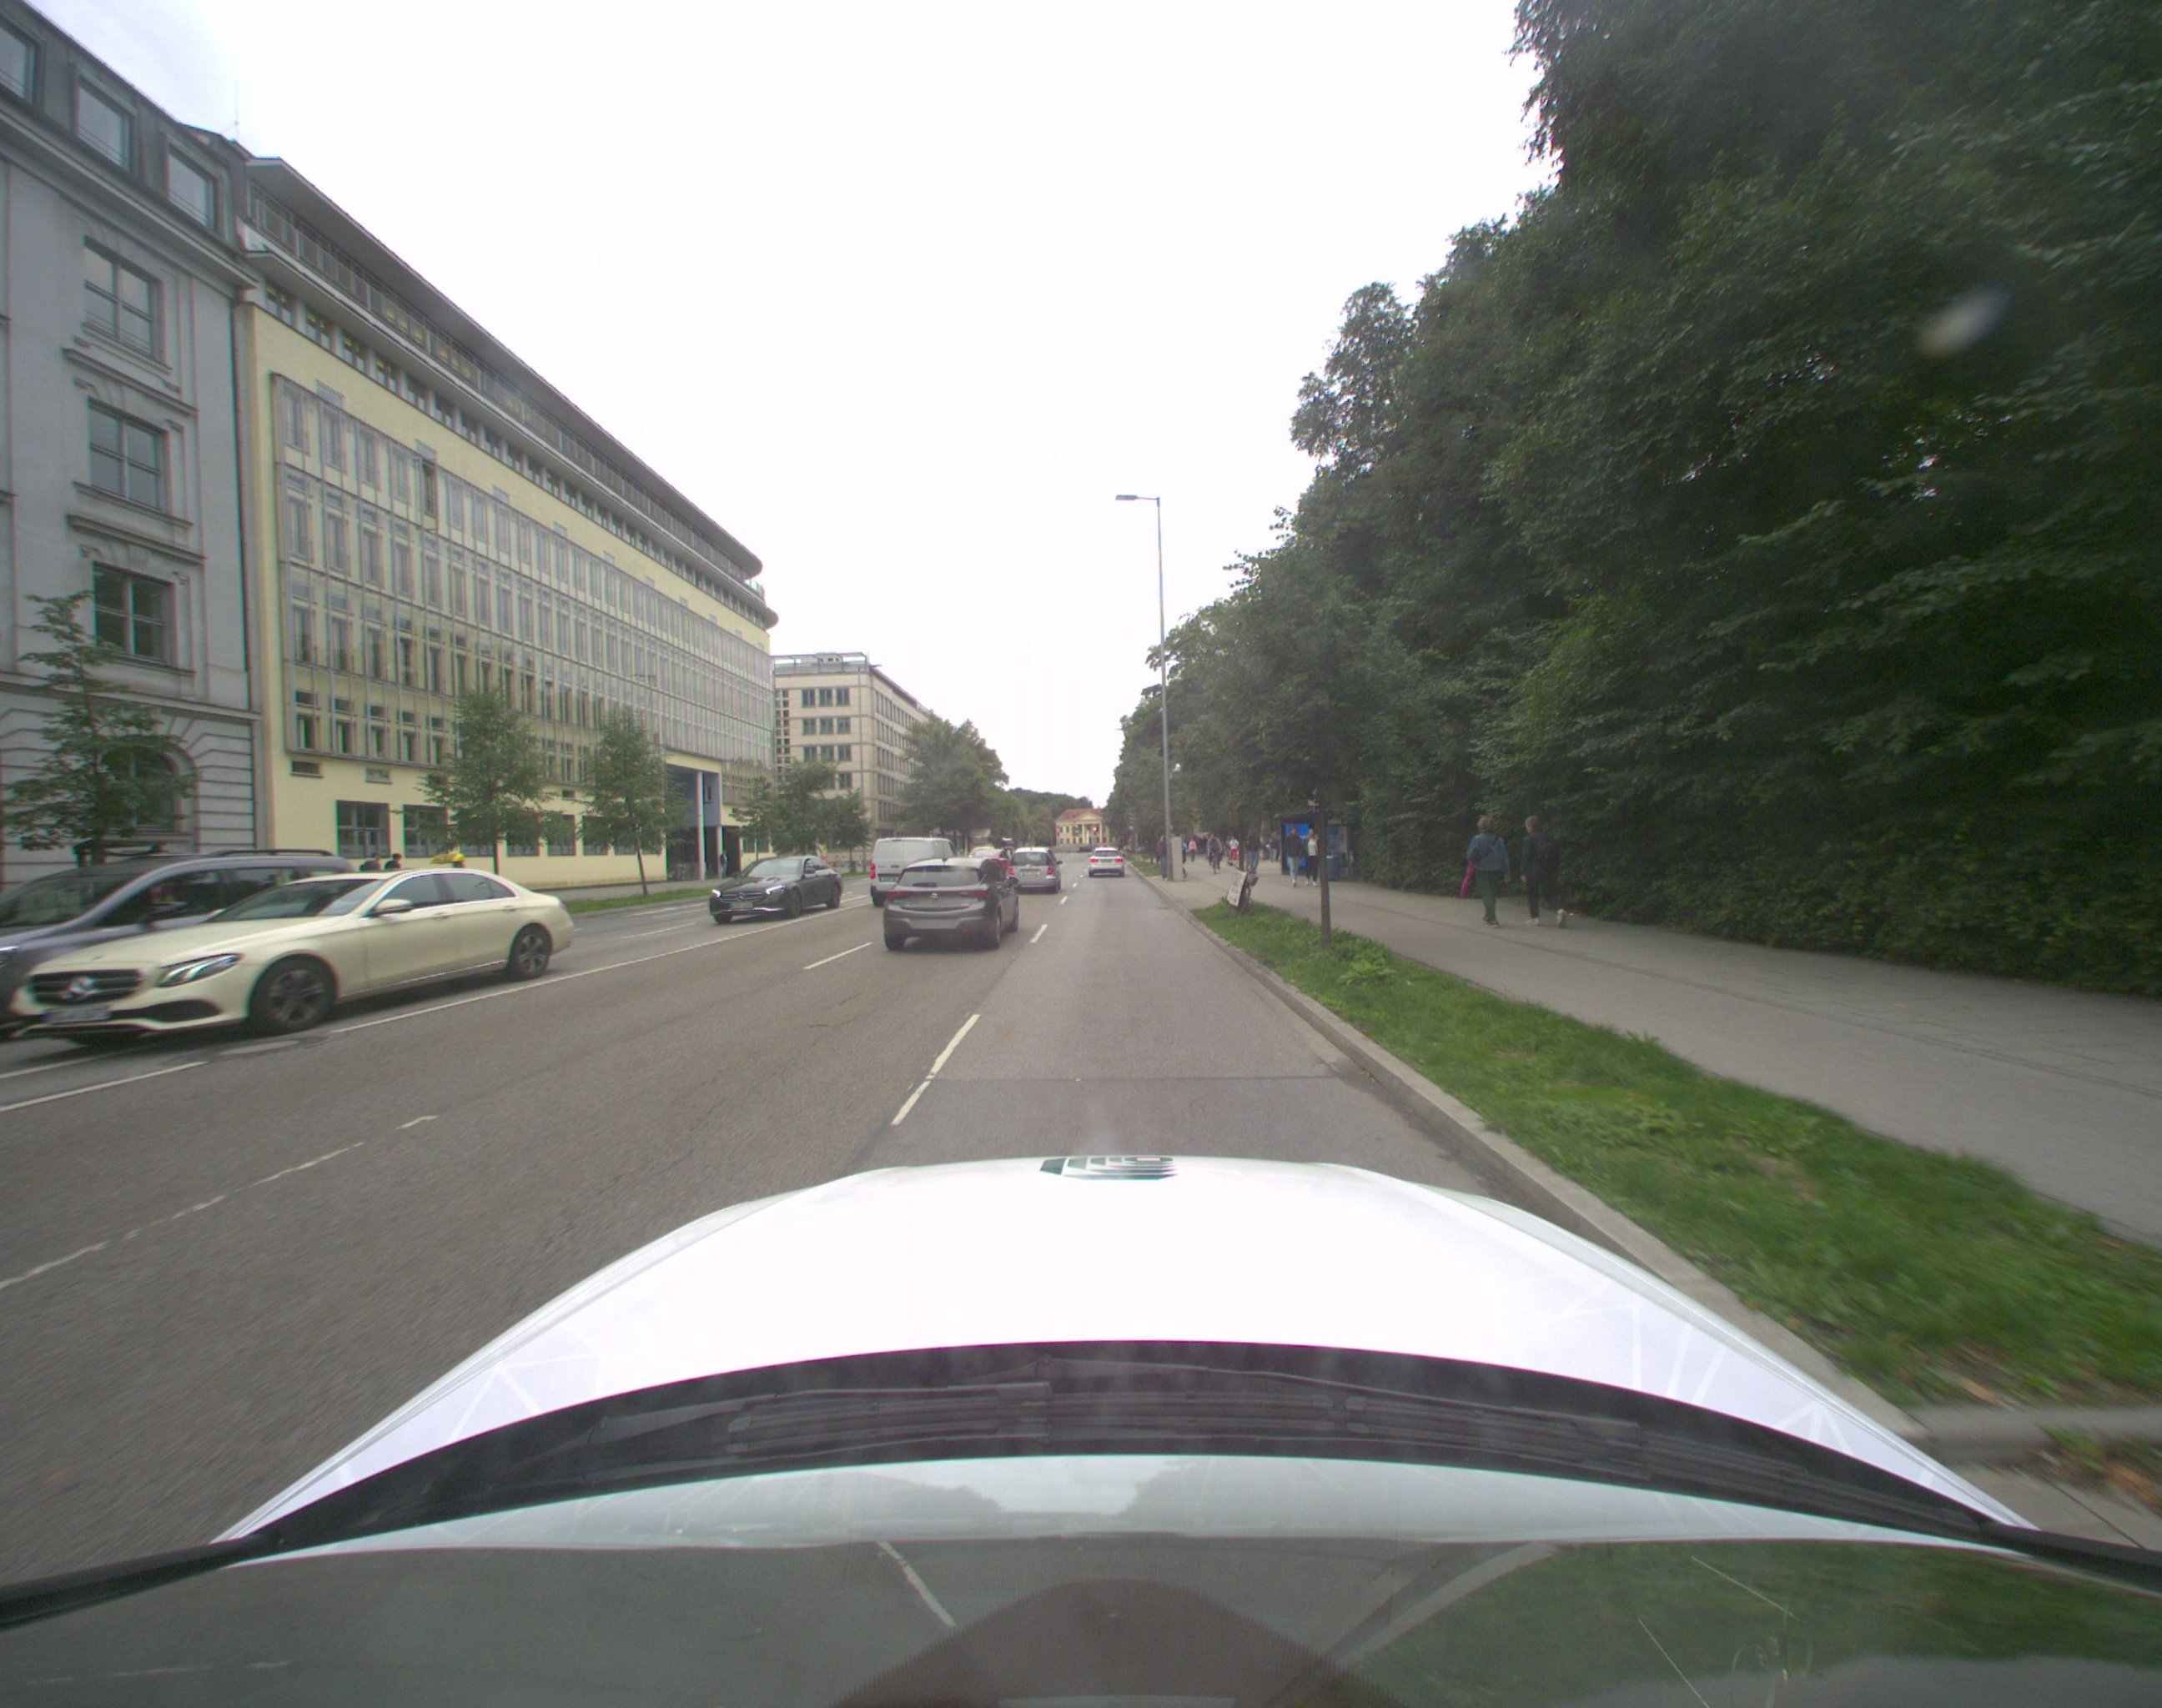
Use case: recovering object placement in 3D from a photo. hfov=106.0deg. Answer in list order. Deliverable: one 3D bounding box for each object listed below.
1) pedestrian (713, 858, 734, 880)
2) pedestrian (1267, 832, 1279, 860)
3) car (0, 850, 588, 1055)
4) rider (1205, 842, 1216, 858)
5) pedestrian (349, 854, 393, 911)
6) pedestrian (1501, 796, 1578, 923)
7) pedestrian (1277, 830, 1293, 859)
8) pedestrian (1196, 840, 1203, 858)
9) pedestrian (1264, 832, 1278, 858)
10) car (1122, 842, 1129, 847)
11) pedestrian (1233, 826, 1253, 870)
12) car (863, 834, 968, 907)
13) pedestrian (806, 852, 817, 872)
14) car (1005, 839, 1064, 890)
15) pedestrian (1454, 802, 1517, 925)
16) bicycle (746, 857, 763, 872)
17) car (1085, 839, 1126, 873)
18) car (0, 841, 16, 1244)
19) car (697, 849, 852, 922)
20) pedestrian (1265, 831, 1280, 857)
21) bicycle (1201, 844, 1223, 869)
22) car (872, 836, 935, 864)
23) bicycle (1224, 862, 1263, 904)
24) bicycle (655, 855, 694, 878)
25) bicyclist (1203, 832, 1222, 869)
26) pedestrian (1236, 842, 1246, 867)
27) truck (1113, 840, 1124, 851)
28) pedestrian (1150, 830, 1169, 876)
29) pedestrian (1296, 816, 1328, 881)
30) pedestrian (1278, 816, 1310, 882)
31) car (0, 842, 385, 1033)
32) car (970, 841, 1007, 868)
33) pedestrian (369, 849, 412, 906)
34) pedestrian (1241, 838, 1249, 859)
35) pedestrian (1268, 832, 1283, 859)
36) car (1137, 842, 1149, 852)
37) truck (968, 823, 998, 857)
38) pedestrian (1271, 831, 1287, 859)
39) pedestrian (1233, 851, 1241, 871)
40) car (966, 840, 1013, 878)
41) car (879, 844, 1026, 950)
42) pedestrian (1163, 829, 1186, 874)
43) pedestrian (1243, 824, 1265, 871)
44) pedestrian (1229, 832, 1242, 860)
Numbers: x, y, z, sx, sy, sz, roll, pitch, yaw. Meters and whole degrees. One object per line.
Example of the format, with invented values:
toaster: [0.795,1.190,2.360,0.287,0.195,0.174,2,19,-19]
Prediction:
pedestrian: [-23.695,1.008,54.045,0.834,1.364,1.087,-2,1,1]
pedestrian: [11.693,-0.492,49.672,0.589,1.690,0.729,0,1,4]
car: [-7.820,0.772,8.842,1.821,1.542,4.825,-2,1,2]
rider: [9.409,-0.310,59.297,0.761,1.112,1.246,0,1,6]
pedestrian: [-22.578,0.897,25.913,0.613,1.776,0.836,0,1,2]
pedestrian: [6.888,0.075,12.256,0.748,1.839,0.757,0,1,2]
pedestrian: [12.484,-0.565,49.908,0.808,1.739,0.729,0,1,4]
pedestrian: [11.649,-0.491,80.378,0.585,1.822,0.850,0,1,2]
pedestrian: [12.643,-0.601,54.242,0.808,1.690,0.729,0,1,4]
car: [11.699,-2.533,214.380,1.717,1.323,4.031,-2,1,2]
pedestrian: [6.646,-0.253,33.351,0.705,1.808,0.639,0,1,1]
car: [-4.670,0.392,23.796,1.891,1.847,4.957,-2,1,1]
pedestrian: [-23.744,0.712,71.838,0.679,1.775,0.675,0,1,5]
car: [-1.569,0.313,28.945,1.773,1.654,4.001,0,1,1]
pedestrian: [6.189,0.137,12.481,0.668,1.839,0.641,0,1,2]
bicycle: [-23.082,0.765,57.575,0.571,1.013,1.592,-1,1,-2]
car: [1.200,0.066,41.434,1.775,1.644,3.995,-1,1,-3]
car: [-4.975,0.692,0.987,1.716,1.636,4.206,-2,1,1]
car: [-7.345,0.679,20.111,1.760,1.423,4.750,-3,1,2]
pedestrian: [12.511,-0.659,53.259,0.808,1.690,0.729,-3,1,4]
bicycle: [5.656,0.109,35.167,0.672,1.030,2.013,0,1,2]
car: [-17.501,-0.417,80.393,5.667,2.536,2.155,-2,1,-3]
bicycle: [3.401,0.590,17.165,0.491,0.794,1.891,0,1,2]
bicycle: [-24.753,0.762,49.588,2.004,1.318,0.574,-1,1,-4]
bicyclist: [5.682,-0.144,35.137,0.705,1.561,0.639,0,1,1]
pedestrian: [10.064,0.044,51.197,0.546,1.527,0.649,0,1,6]
truck: [11.683,-2.623,251.641,3.313,3.366,8.667,0,1,2]
pedestrian: [3.118,-0.037,32.529,0.705,1.808,0.639,0,1,1]
pedestrian: [6.924,-0.177,24.457,0.705,1.915,0.957,0,1,1]
pedestrian: [6.276,-0.148,24.001,0.705,1.915,0.957,0,1,1]
car: [-10.740,0.768,9.253,1.821,1.750,4.262,-2,0,2]
car: [-6.555,-0.014,58.116,1.850,1.748,4.633,-3,1,2]
pedestrian: [-21.945,0.732,25.902,0.613,1.776,0.836,0,1,2]
pedestrian: [10.374,-0.337,51.515,0.455,1.326,0.649,0,1,6]
pedestrian: [12.527,-0.541,52.468,0.808,1.690,0.729,-2,1,4]
car: [9.825,-1.152,129.403,1.820,1.549,4.755,-2,1,2]
truck: [-11.505,-1.678,96.109,2.909,3.774,7.659,-1,1,-2]
pedestrian: [12.322,-0.556,50.713,0.808,1.690,0.729,-3,1,4]
pedestrian: [13.584,0.596,70.919,0.626,1.666,0.575,0,1,17]
car: [-4.189,0.176,37.798,1.774,1.654,3.998,-1,1,-2]
car: [-2.051,0.616,14.118,1.703,1.552,4.003,0,1,3]
pedestrian: [3.974,-0.115,34.780,0.795,1.880,0.547,0,1,37]
pedestrian: [6.809,-0.272,32.068,0.705,1.808,0.950,0,1,1]
pedestrian: [9.505,-0.487,50.231,0.722,1.690,0.649,0,1,6]
